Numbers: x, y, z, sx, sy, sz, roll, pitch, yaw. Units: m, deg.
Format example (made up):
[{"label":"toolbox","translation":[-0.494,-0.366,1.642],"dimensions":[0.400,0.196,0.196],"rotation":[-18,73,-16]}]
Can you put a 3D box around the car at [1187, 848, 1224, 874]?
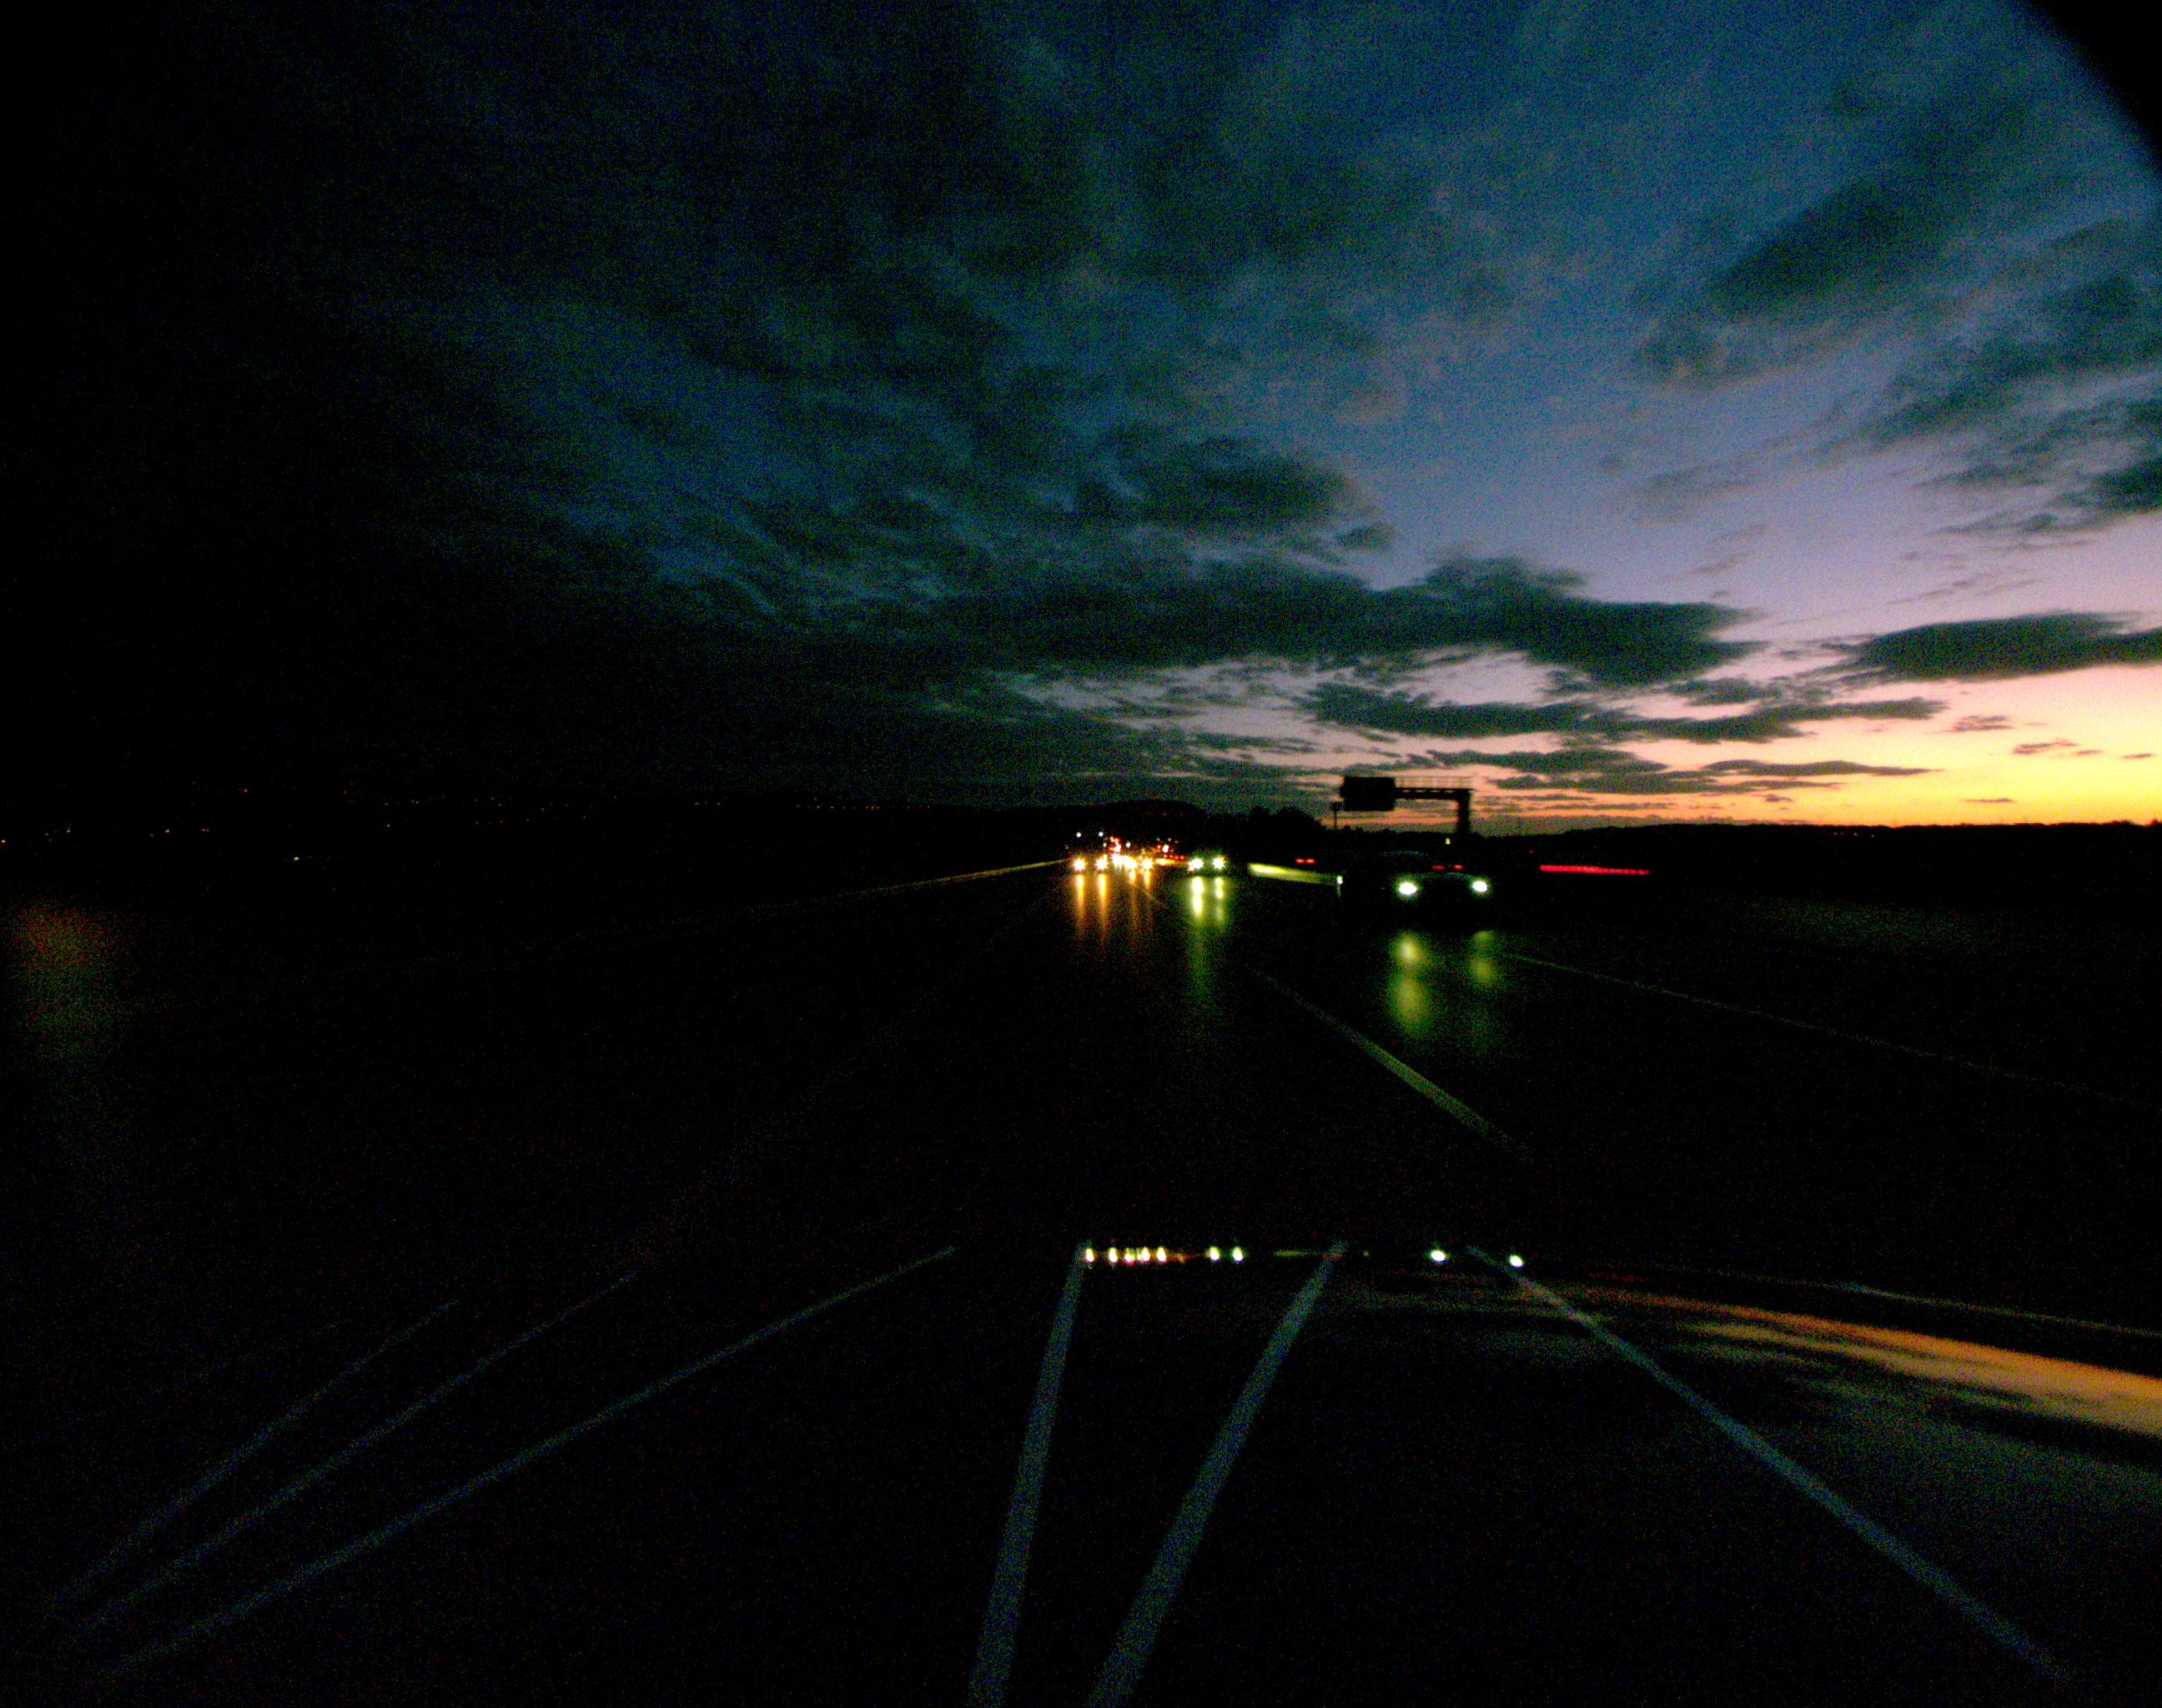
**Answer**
[{"label":"car","translation":[8.621,0.435,53.086],"dimensions":[1.819,1.638,4.856],"rotation":[-2,1,1]}]

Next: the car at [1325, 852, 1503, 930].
[{"label":"car","translation":[7.472,0.738,17.774],"dimensions":[1.819,1.429,5.394],"rotation":[-2,1,1]}]

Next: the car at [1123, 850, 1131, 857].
[{"label":"car","translation":[11.357,-0.147,188.159],"dimensions":[1.862,1.826,4.000],"rotation":[-2,1,1]}]

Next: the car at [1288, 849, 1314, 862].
[{"label":"car","translation":[25.009,0.190,86.584],"dimensions":[1.740,1.312,4.551],"rotation":[-2,1,1]}]

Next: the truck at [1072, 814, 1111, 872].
[{"label":"truck","translation":[0.967,-0.864,67.537],"dimensions":[3.012,4.570,12.578],"rotation":[-2,0,1]}]

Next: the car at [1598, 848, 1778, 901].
[{"label":"car","translation":[16.132,0.487,20.478],"dimensions":[1.670,1.211,3.999],"rotation":[-2,1,1]}]

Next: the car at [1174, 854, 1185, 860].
[{"label":"car","translation":[22.901,0.675,176.108],"dimensions":[1.998,1.404,4.658],"rotation":[-2,1,1]}]

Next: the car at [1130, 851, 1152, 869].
[{"label":"car","translation":[5.568,0.574,71.069],"dimensions":[1.802,1.531,4.159],"rotation":[-2,1,1]}]

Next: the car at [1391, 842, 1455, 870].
[{"label":"car","translation":[20.321,0.062,45.331],"dimensions":[1.663,1.514,4.887],"rotation":[-2,1,1]}]

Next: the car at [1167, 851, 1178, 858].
[{"label":"car","translation":[19.237,0.171,160.036],"dimensions":[1.736,1.362,3.900],"rotation":[-2,1,1]}]

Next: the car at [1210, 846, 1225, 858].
[{"label":"car","translation":[26.593,-0.417,147.999],"dimensions":[1.998,2.374,5.835],"rotation":[-2,1,1]}]

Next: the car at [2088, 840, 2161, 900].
[{"label":"car","translation":[22.686,0.331,14.504],"dimensions":[1.670,1.174,3.999],"rotation":[-2,1,1]}]
